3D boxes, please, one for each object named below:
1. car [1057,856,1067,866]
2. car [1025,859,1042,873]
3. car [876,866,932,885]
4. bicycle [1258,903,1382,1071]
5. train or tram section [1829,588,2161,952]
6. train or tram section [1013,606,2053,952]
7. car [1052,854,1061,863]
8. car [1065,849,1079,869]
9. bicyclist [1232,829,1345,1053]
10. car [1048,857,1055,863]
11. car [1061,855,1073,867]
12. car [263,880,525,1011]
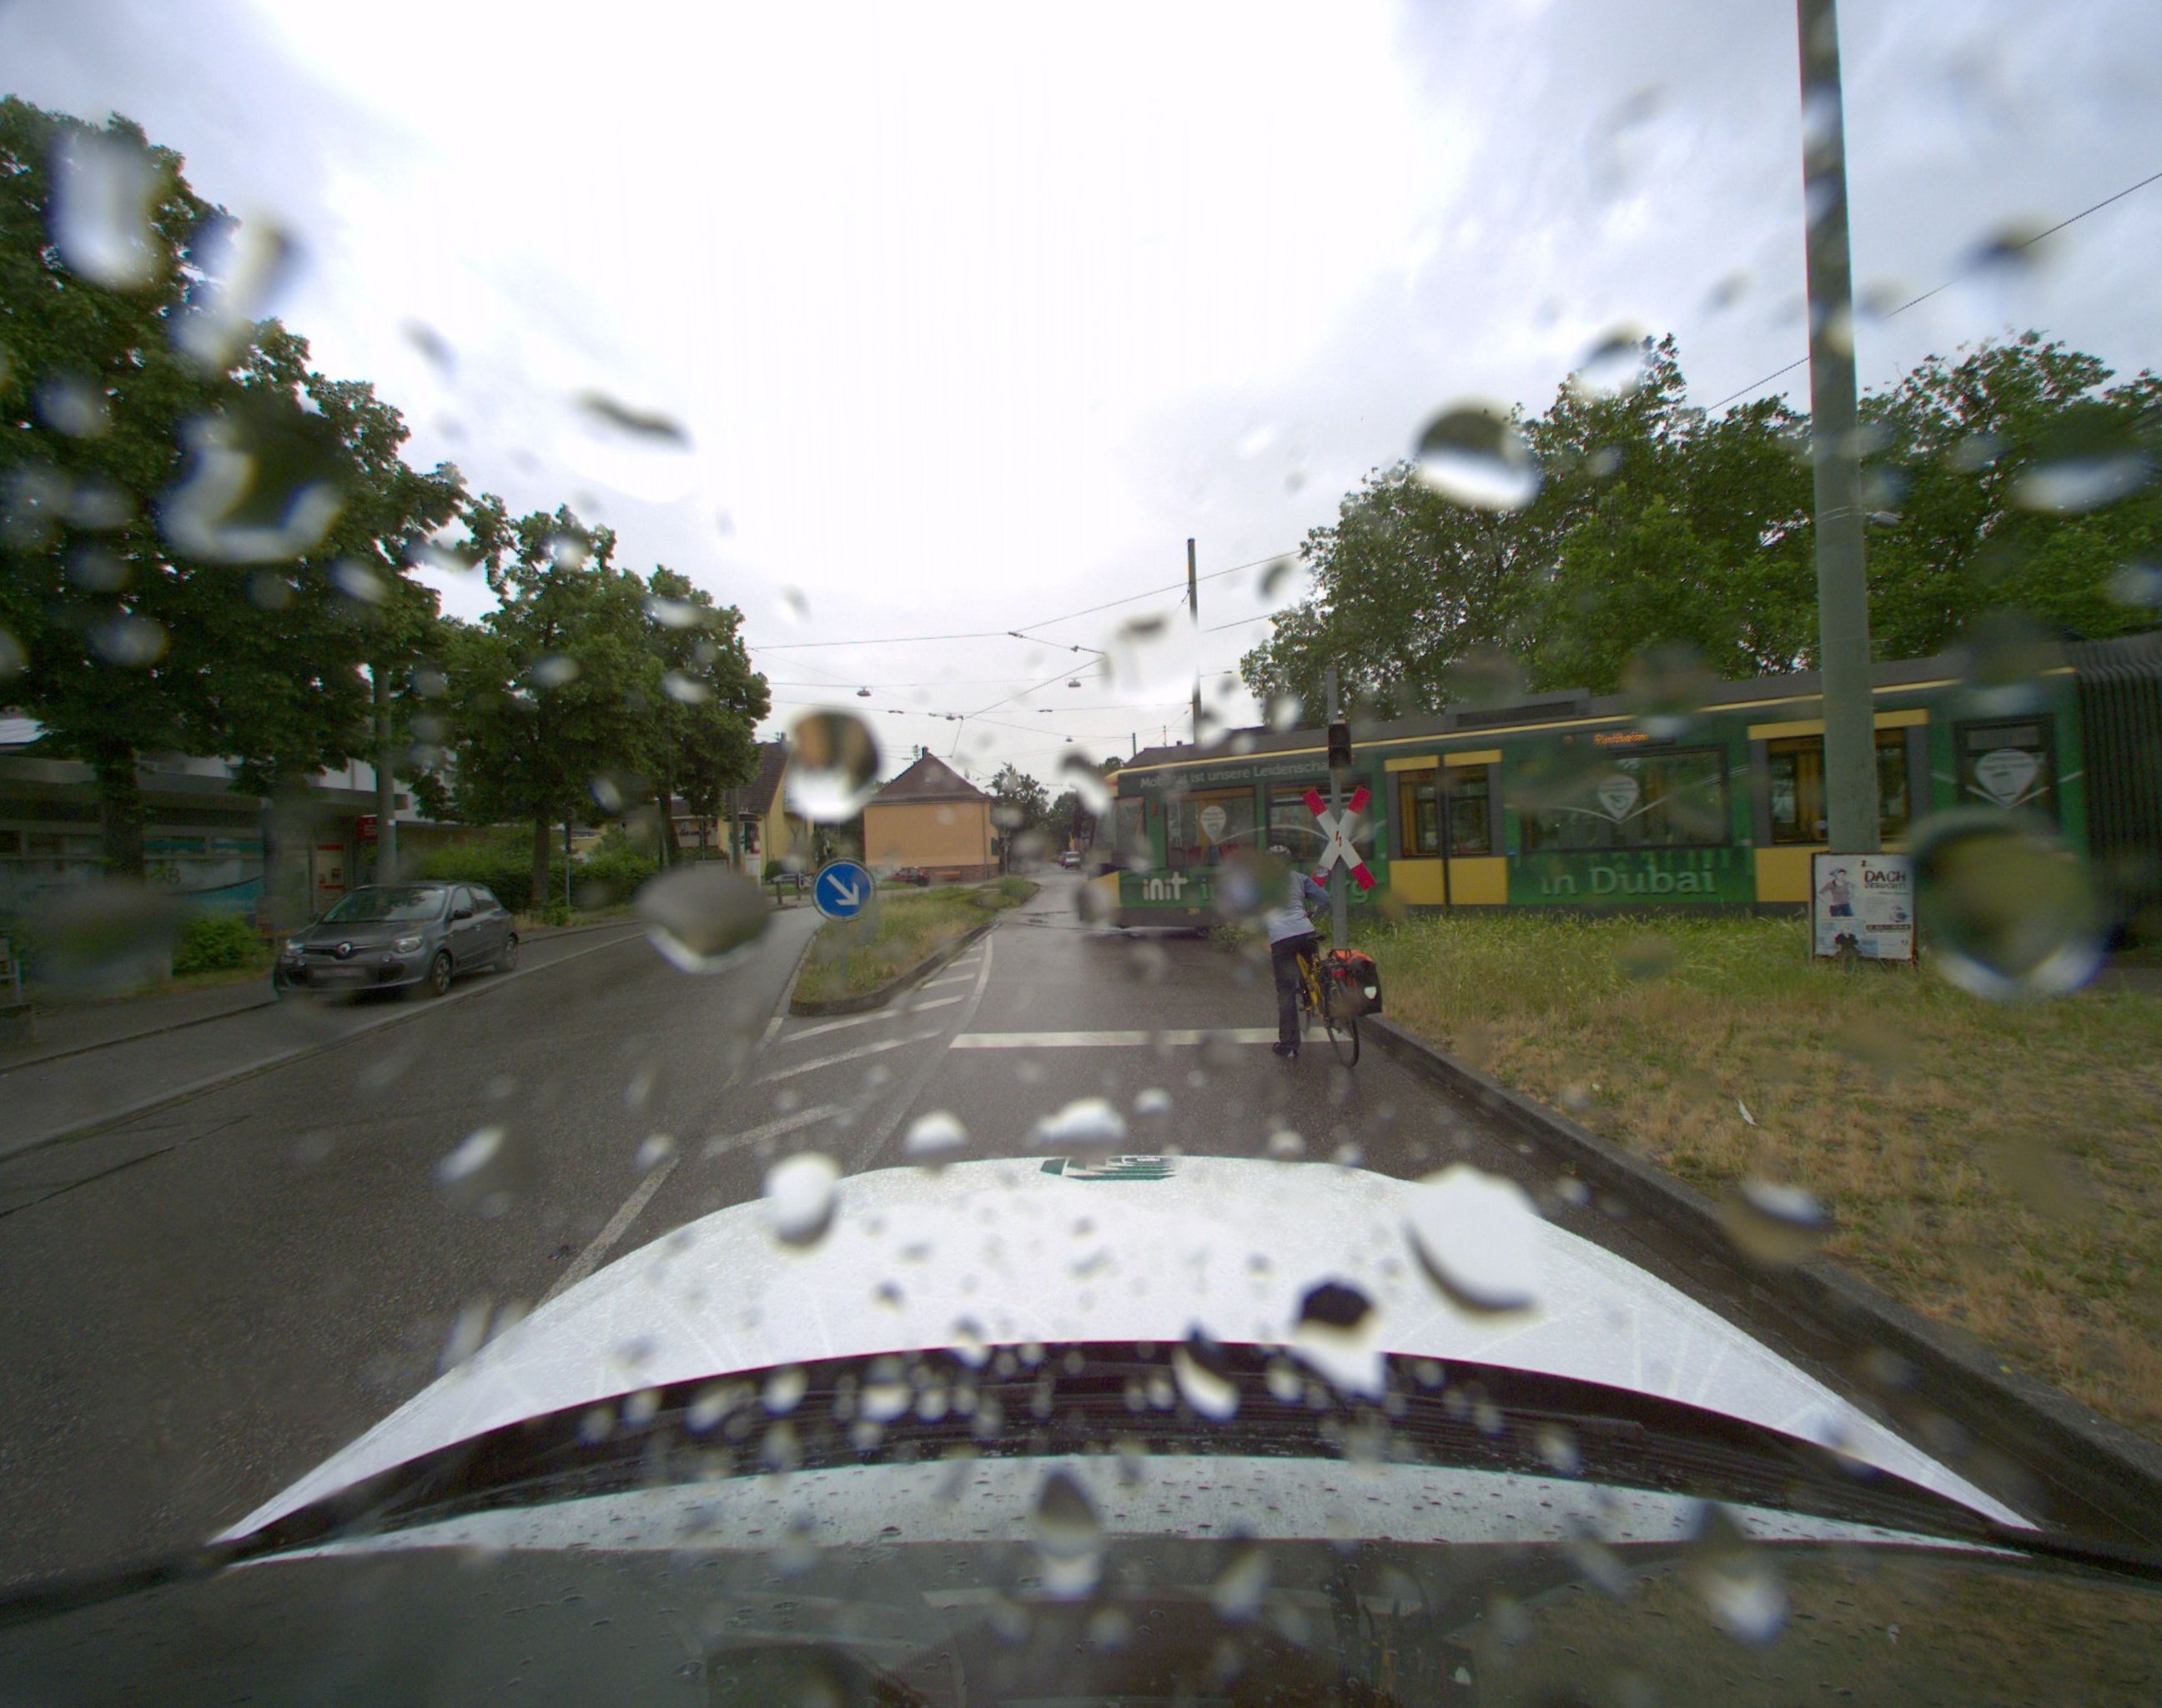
[{"bbox_3d":[-3.447,1.344,147.720,1.799,1.811,3.999,0,-1,0],"label":"car"},{"bbox_3d":[-5.603,1.390,96.027,1.799,1.651,3.999,0,-1,0],"label":"car"},{"bbox_3d":[-13.661,1.654,63.079,3.979,1.456,1.831,0,-1,-5],"label":"car"},{"bbox_3d":[1.796,0.947,6.341,0.444,1.004,1.728,-2,0,1],"label":"bicycle"},{"bbox_3d":[12.199,-0.941,8.987,4.930,3.553,2.784,-4,-1,20],"label":"train or tram section"},{"bbox_3d":[5.076,-0.535,12.916,12.962,3.553,2.787,-3,-1,31],"label":"train or tram section"},{"bbox_3d":[-4.925,0.904,165.006,1.799,1.811,3.999,0,-1,0],"label":"car"},{"bbox_3d":[-1.128,0.660,108.283,1.799,2.627,3.999,0,-1,0],"label":"car"},{"bbox_3d":[1.592,0.639,6.373,0.665,1.626,0.853,0,-1,1],"label":"bicyclist"},{"bbox_3d":[-7.703,1.506,211.713,1.799,1.564,3.999,0,-1,0],"label":"car"},{"bbox_3d":[-2.226,1.143,128.194,1.799,1.811,3.999,0,-1,0],"label":"car"},{"bbox_3d":[-9.698,1.180,11.884,1.621,1.496,3.645,0,-1,-18],"label":"car"}]
